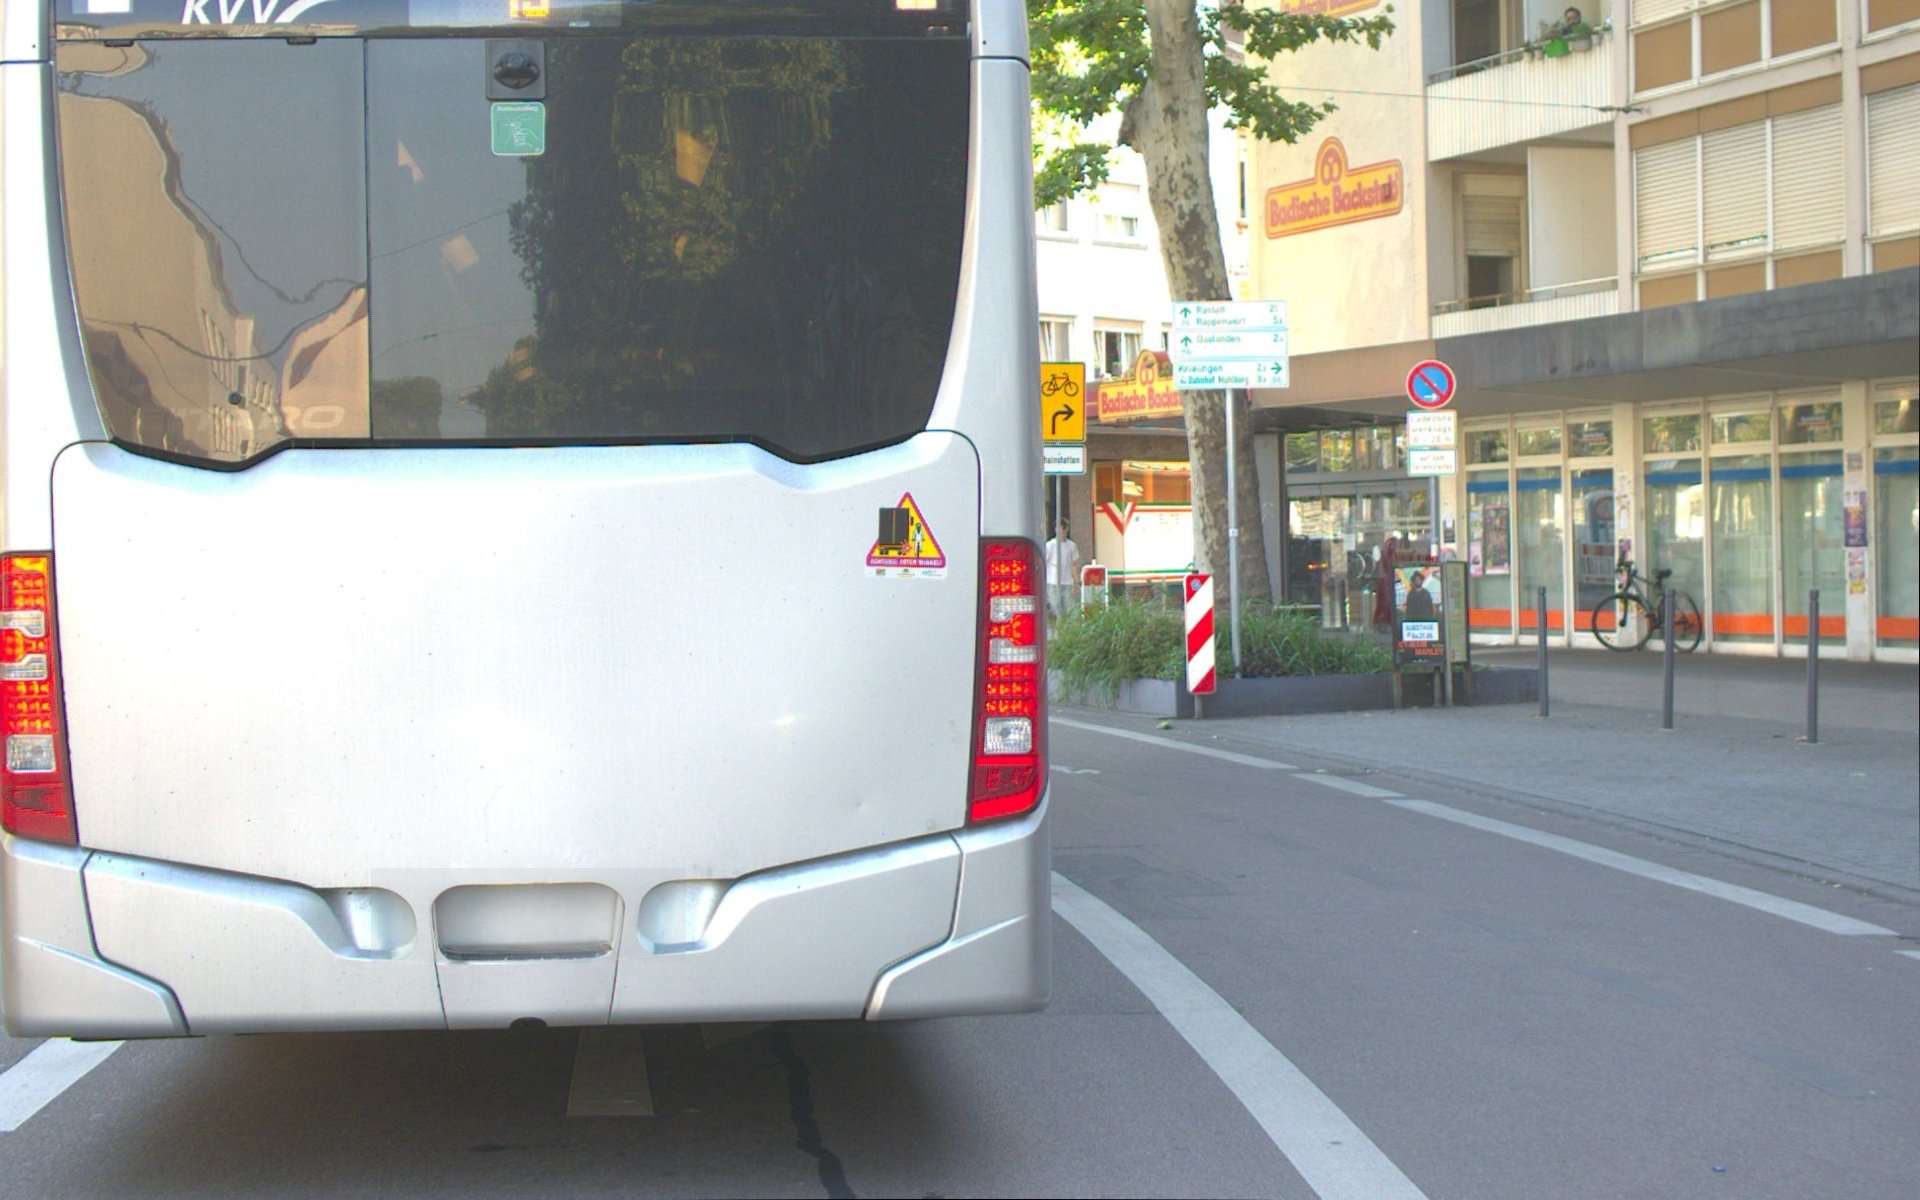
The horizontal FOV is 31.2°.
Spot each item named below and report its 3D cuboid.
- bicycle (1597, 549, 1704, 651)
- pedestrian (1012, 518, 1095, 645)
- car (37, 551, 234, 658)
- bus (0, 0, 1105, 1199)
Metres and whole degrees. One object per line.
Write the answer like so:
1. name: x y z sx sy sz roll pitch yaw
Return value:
1. bicycle: 7.706 -0.012 38.411 0.437 1.089 1.462 -4 2 -19
2. pedestrian: 1.300 -0.266 47.880 0.835 1.706 0.793 -3 2 -24
3. car: -12.078 0.040 50.202 1.756 1.459 4.000 -1 1 -29
4. bus: -1.428 -0.154 12.939 2.657 3.088 10.218 -1 1 -5
